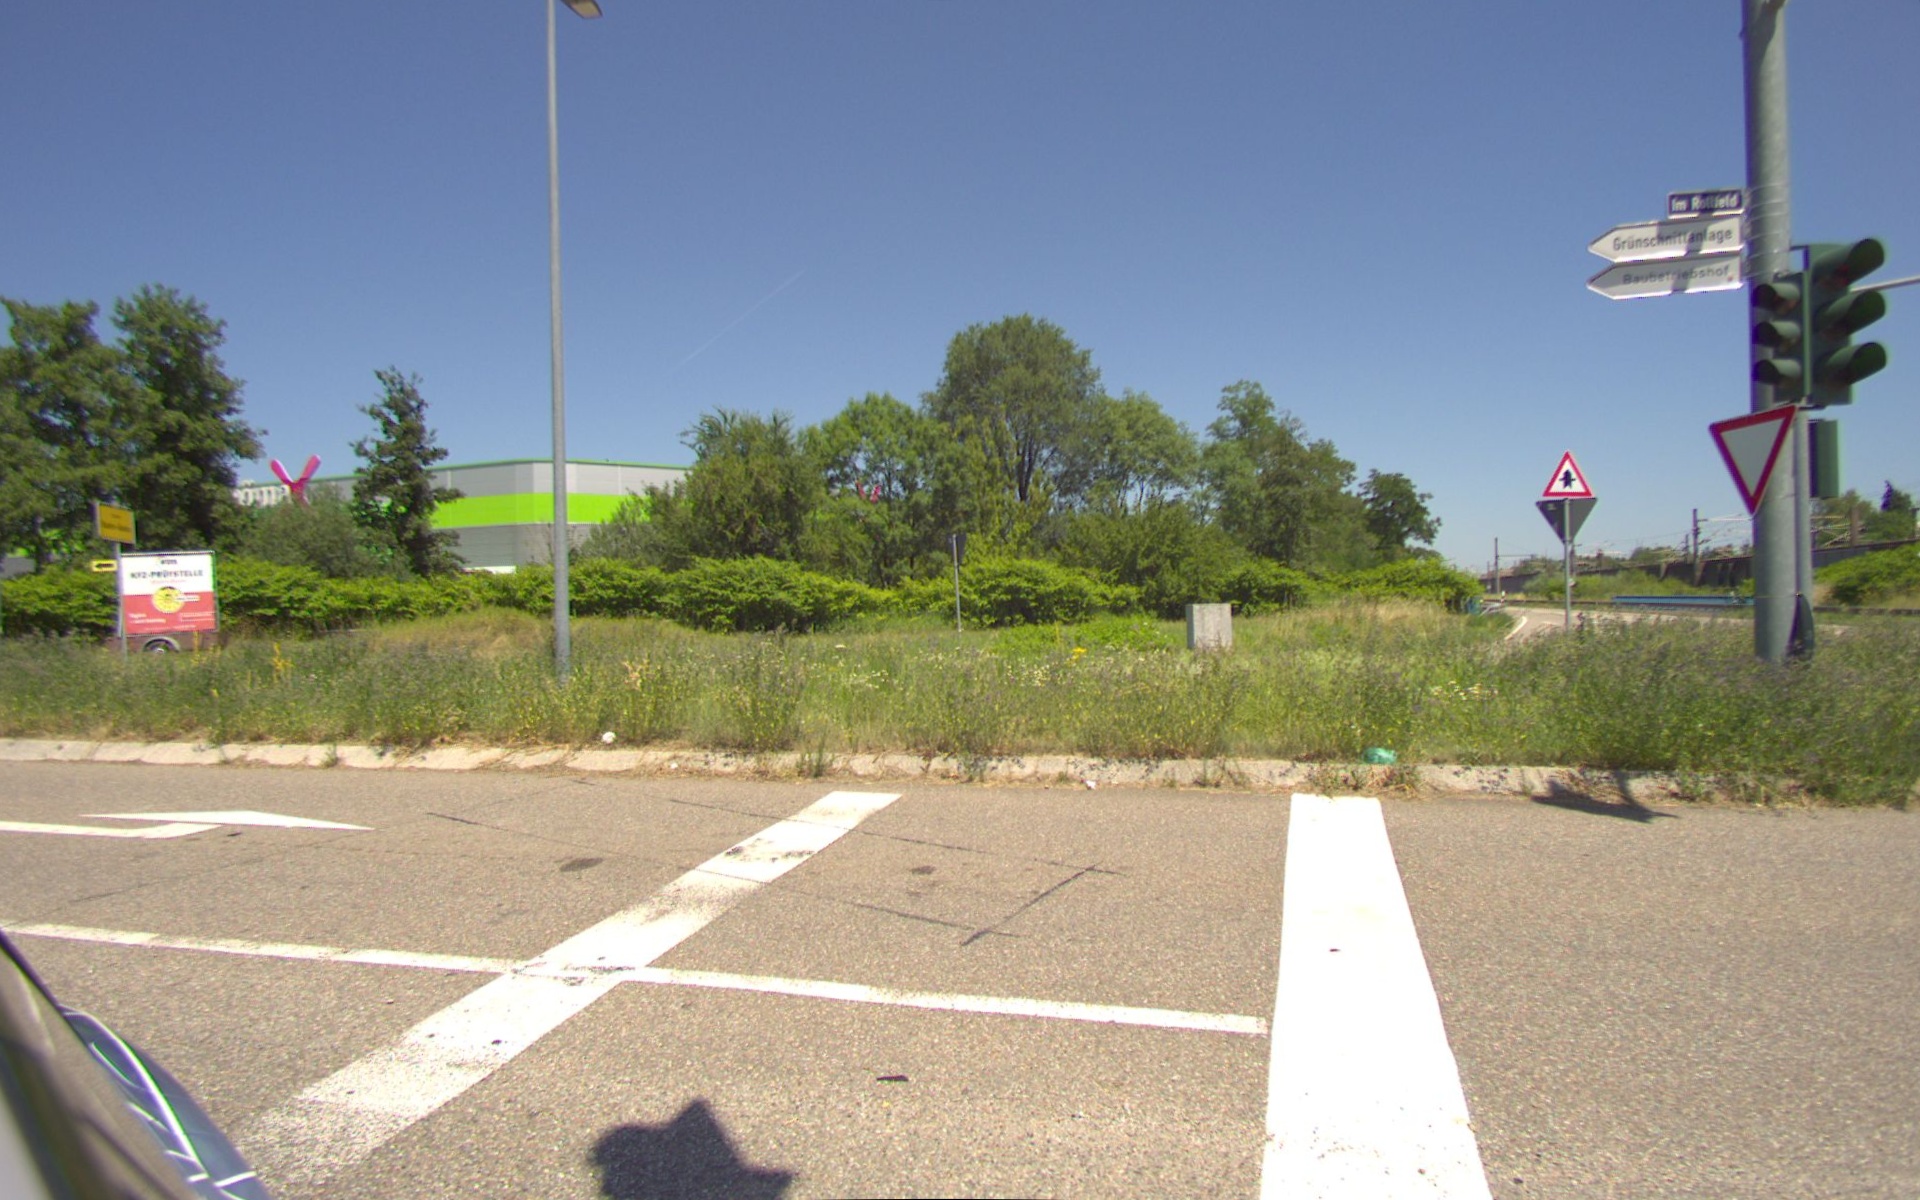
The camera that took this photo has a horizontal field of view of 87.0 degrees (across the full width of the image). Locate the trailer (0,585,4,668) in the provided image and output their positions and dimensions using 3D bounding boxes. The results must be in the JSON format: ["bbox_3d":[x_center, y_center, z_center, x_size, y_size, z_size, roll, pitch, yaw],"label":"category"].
[{"bbox_3d":[-24.920,0.670,23.241,3.891,2.029,1.862,-1,1,-22],"label":"trailer"}]

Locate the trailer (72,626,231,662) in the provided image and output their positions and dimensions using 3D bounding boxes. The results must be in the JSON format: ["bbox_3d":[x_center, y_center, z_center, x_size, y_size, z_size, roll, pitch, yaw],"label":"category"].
[{"bbox_3d":[-20.302,1.088,25.534,2.803,0.744,1.571,-1,1,-22],"label":"trailer"}]
